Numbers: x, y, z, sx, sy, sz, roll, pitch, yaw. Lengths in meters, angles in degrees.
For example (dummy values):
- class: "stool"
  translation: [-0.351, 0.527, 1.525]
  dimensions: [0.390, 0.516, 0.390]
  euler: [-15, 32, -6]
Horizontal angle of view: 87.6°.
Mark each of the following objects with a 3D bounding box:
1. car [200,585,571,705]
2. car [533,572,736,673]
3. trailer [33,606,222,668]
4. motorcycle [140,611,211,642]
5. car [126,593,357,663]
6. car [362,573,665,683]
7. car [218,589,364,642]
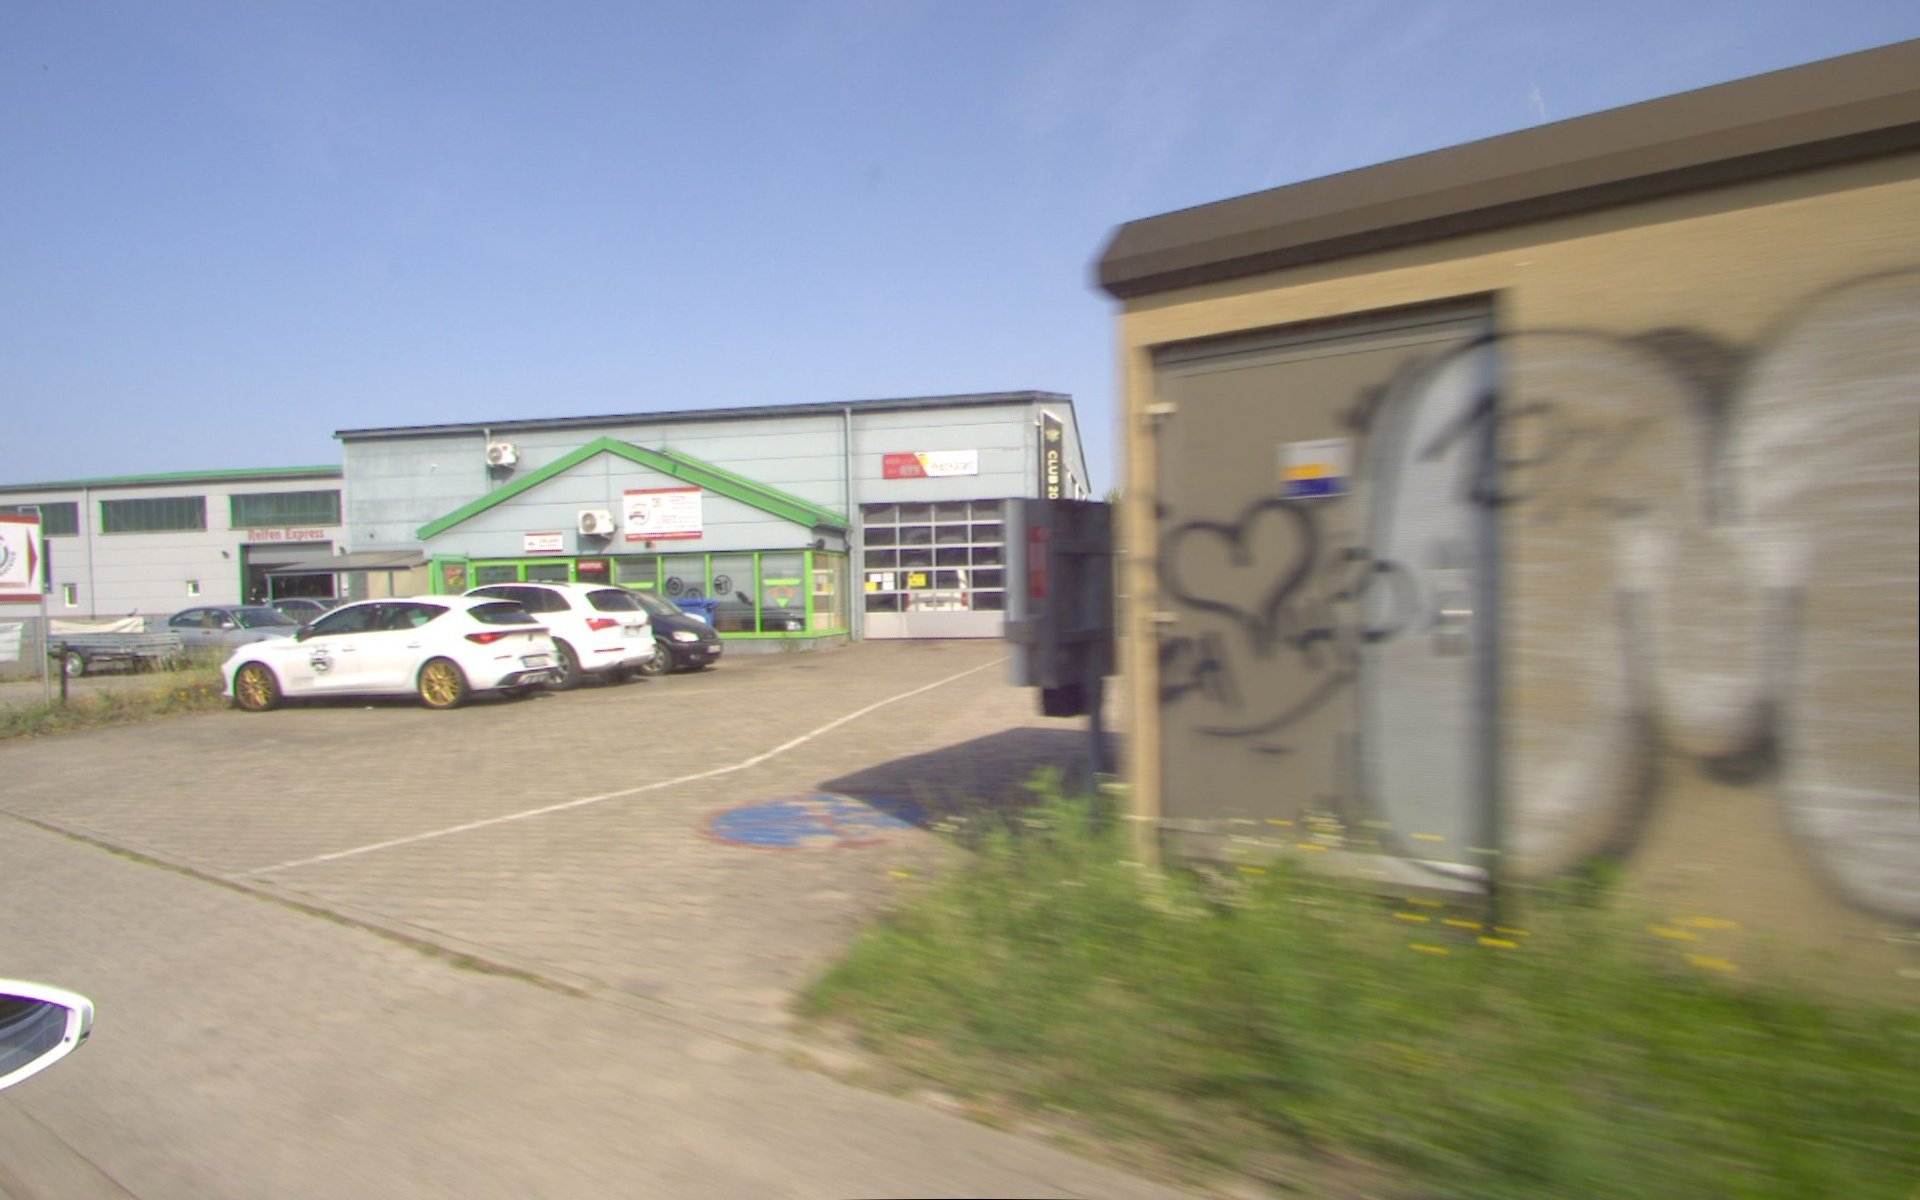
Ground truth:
- class: "car"
  translation: [-7.664, 0.575, 13.530]
  dimensions: [4.181, 1.486, 1.692]
  euler: [-1, 1, 9]
- class: "car"
  translation: [-5.965, 0.395, 18.538]
  dimensions: [3.152, 1.743, 1.643]
  euler: [-1, 1, 9]
- class: "trailer"
  translation: [-17.737, 0.779, 21.400]
  dimensions: [2.919, 1.264, 1.494]
  euler: [0, 0, 7]
- class: "motorcycle"
  translation: [-29.224, 0.973, 37.322]
  dimensions: [2.160, 1.109, 0.803]
  euler: [-1, 1, 9]
- class: "car"
  translation: [-16.400, 0.633, 22.942]
  dimensions: [4.375, 1.486, 1.643]
  euler: [-1, 1, 9]
- class: "car"
  translation: [-6.963, 0.427, 15.812]
  dimensions: [4.054, 1.593, 1.719]
  euler: [-1, 1, 9]
- class: "car"
  translation: [-21.162, 0.475, 31.722]
  dimensions: [3.734, 1.589, 1.637]
  euler: [-1, 1, 12]
